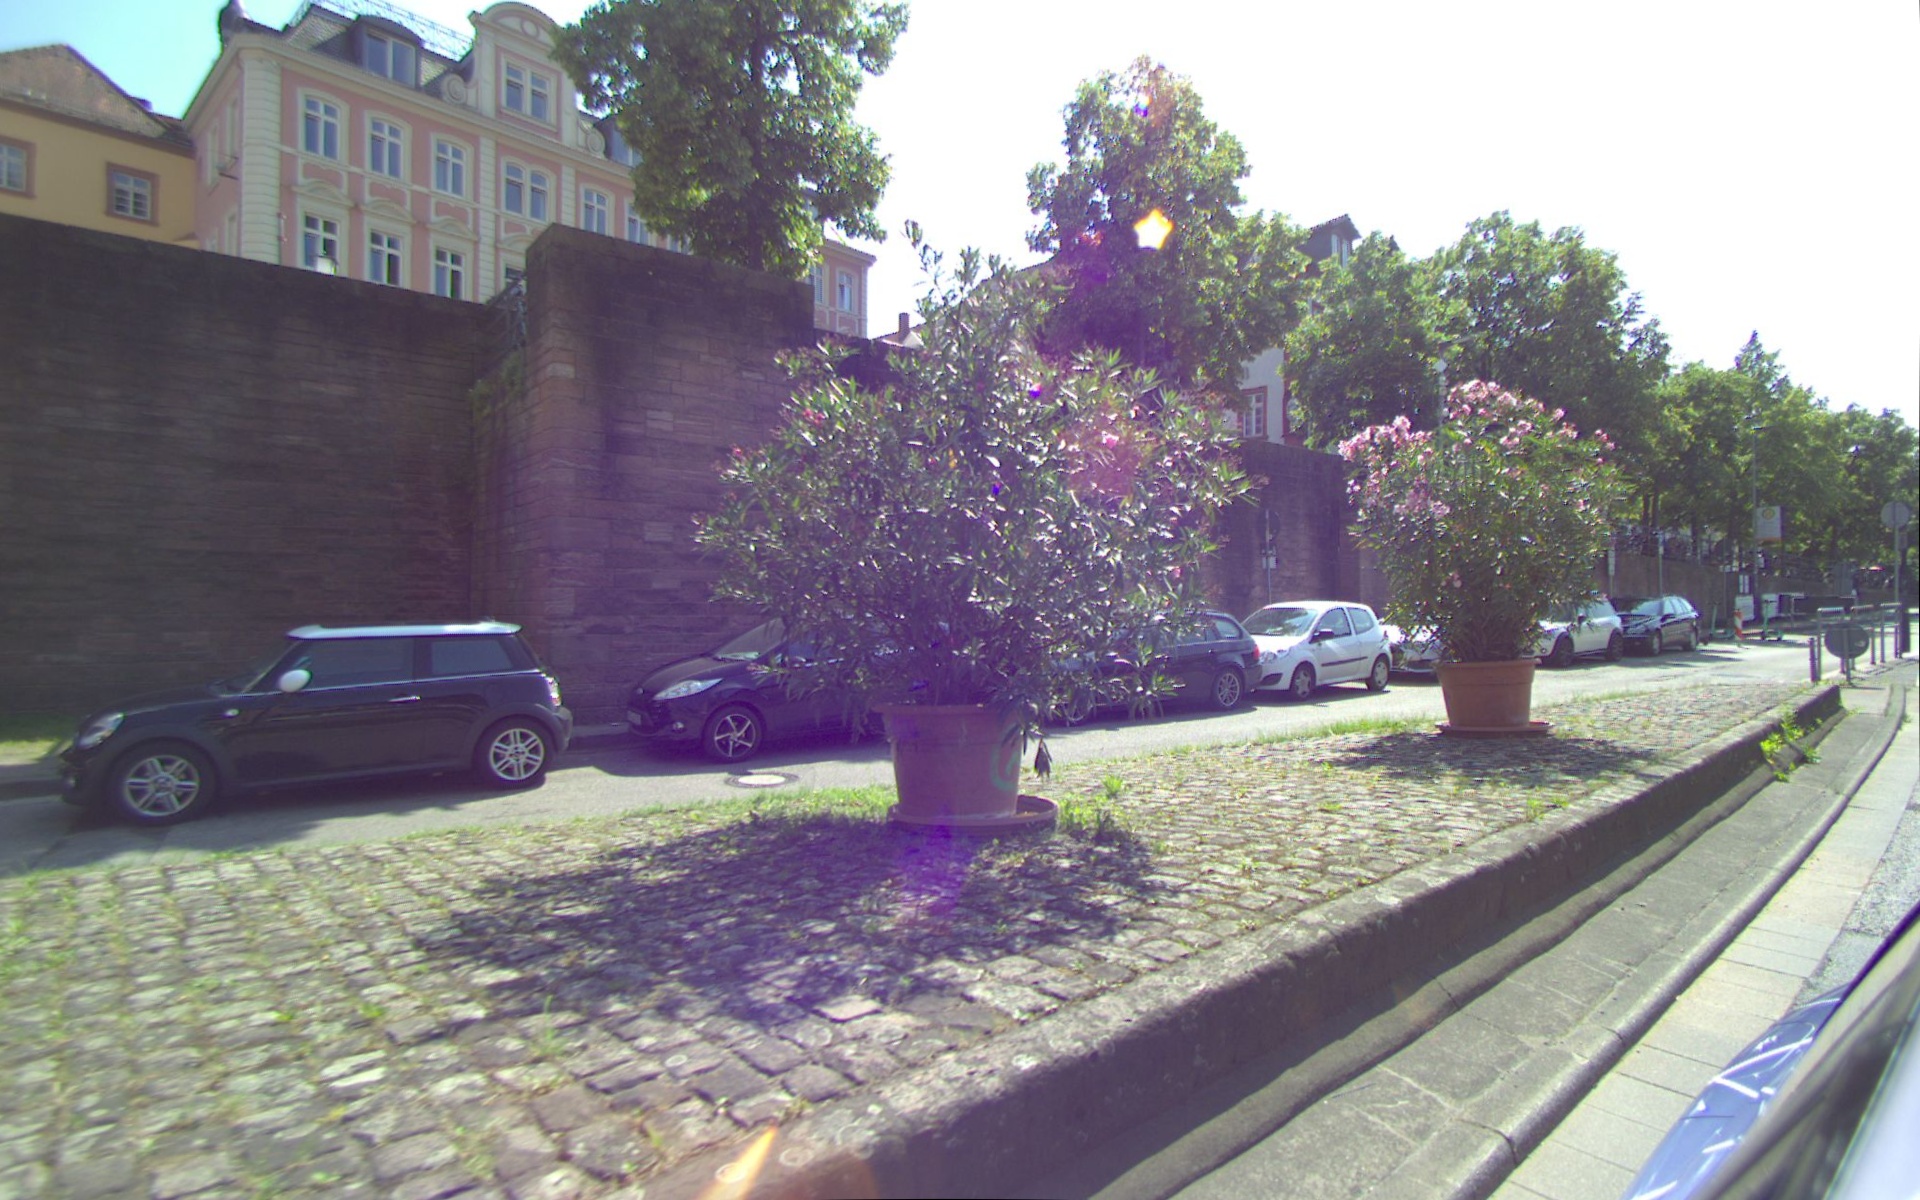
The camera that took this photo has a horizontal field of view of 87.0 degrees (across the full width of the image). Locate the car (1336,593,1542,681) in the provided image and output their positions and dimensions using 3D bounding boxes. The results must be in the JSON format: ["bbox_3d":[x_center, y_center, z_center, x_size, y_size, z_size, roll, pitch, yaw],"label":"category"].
[{"bbox_3d":[9.328,0.625,19.533,4.671,1.450,1.757,-1,0,-39],"label":"car"}]

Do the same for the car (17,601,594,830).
[{"bbox_3d":[-5.305,0.801,8.683,3.826,1.540,1.597,-1,0,-32],"label":"car"}]

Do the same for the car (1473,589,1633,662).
[{"bbox_3d":[13.017,0.509,22.145,3.830,1.431,1.616,-1,0,-36],"label":"car"}]

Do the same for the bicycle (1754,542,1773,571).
[{"bbox_3d":[31.886,-1.717,40.143,0.410,1.119,1.707,1,1,44],"label":"bicycle"}]

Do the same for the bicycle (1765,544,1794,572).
[{"bbox_3d":[33.451,-1.704,41.292,1.701,1.119,0.411,-1,1,-33],"label":"bicycle"}]

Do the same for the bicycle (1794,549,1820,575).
[{"bbox_3d":[36.663,-1.628,43.802,1.701,1.119,0.411,-1,0,-33],"label":"bicycle"}]

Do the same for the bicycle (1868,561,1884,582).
[{"bbox_3d":[45.825,-1.404,50.632,1.906,1.017,0.298,0,0,-39],"label":"bicycle"}]

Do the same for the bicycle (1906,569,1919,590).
[{"bbox_3d":[53.109,-1.128,56.272,1.882,1.126,0.345,-1,0,-34],"label":"bicycle"}]

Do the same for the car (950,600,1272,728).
[{"bbox_3d":[2.140,0.754,13.838,4.322,1.405,1.717,-1,2,-33],"label":"car"}]

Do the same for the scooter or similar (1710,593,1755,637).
[{"bbox_3d":[22.680,0.429,29.720,1.245,1.246,0.534,-1,1,-24],"label":"scooter or similar"}]

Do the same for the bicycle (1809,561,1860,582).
[{"bbox_3d":[42.473,-1.374,49.189,0.293,1.017,1.857,1,0,-40],"label":"bicycle"}]

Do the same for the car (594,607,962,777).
[{"bbox_3d":[-1.899,0.857,10.962,3.644,1.503,1.500,-1,0,-34],"label":"car"}]

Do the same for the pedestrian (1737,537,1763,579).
[{"bbox_3d":[33.543,-1.765,42.990,0.698,1.742,0.720,0,0,-38],"label":"pedestrian"}]

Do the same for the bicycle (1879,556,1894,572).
[{"bbox_3d":[48.109,-1.863,52.527,1.885,0.794,0.350,0,0,-41],"label":"bicycle"}]

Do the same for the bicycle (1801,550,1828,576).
[{"bbox_3d":[37.916,-1.648,44.898,1.887,1.119,0.411,-1,0,-33],"label":"bicycle"}]

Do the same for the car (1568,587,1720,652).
[{"bbox_3d":[17.117,0.433,25.257,4.452,1.468,1.847,-1,0,-38],"label":"car"}]

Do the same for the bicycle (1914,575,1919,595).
[{"bbox_3d":[63.919,-0.956,66.162,0.468,1.277,2.162,0,2,-37],"label":"bicycle"}]

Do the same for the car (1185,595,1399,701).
[{"bbox_3d":[5.391,0.685,16.288,3.485,1.476,1.714,-1,0,-40],"label":"car"}]

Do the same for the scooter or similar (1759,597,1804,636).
[{"bbox_3d":[23.844,0.472,29.364,1.410,1.103,0.534,-1,1,-29],"label":"scooter or similar"}]
